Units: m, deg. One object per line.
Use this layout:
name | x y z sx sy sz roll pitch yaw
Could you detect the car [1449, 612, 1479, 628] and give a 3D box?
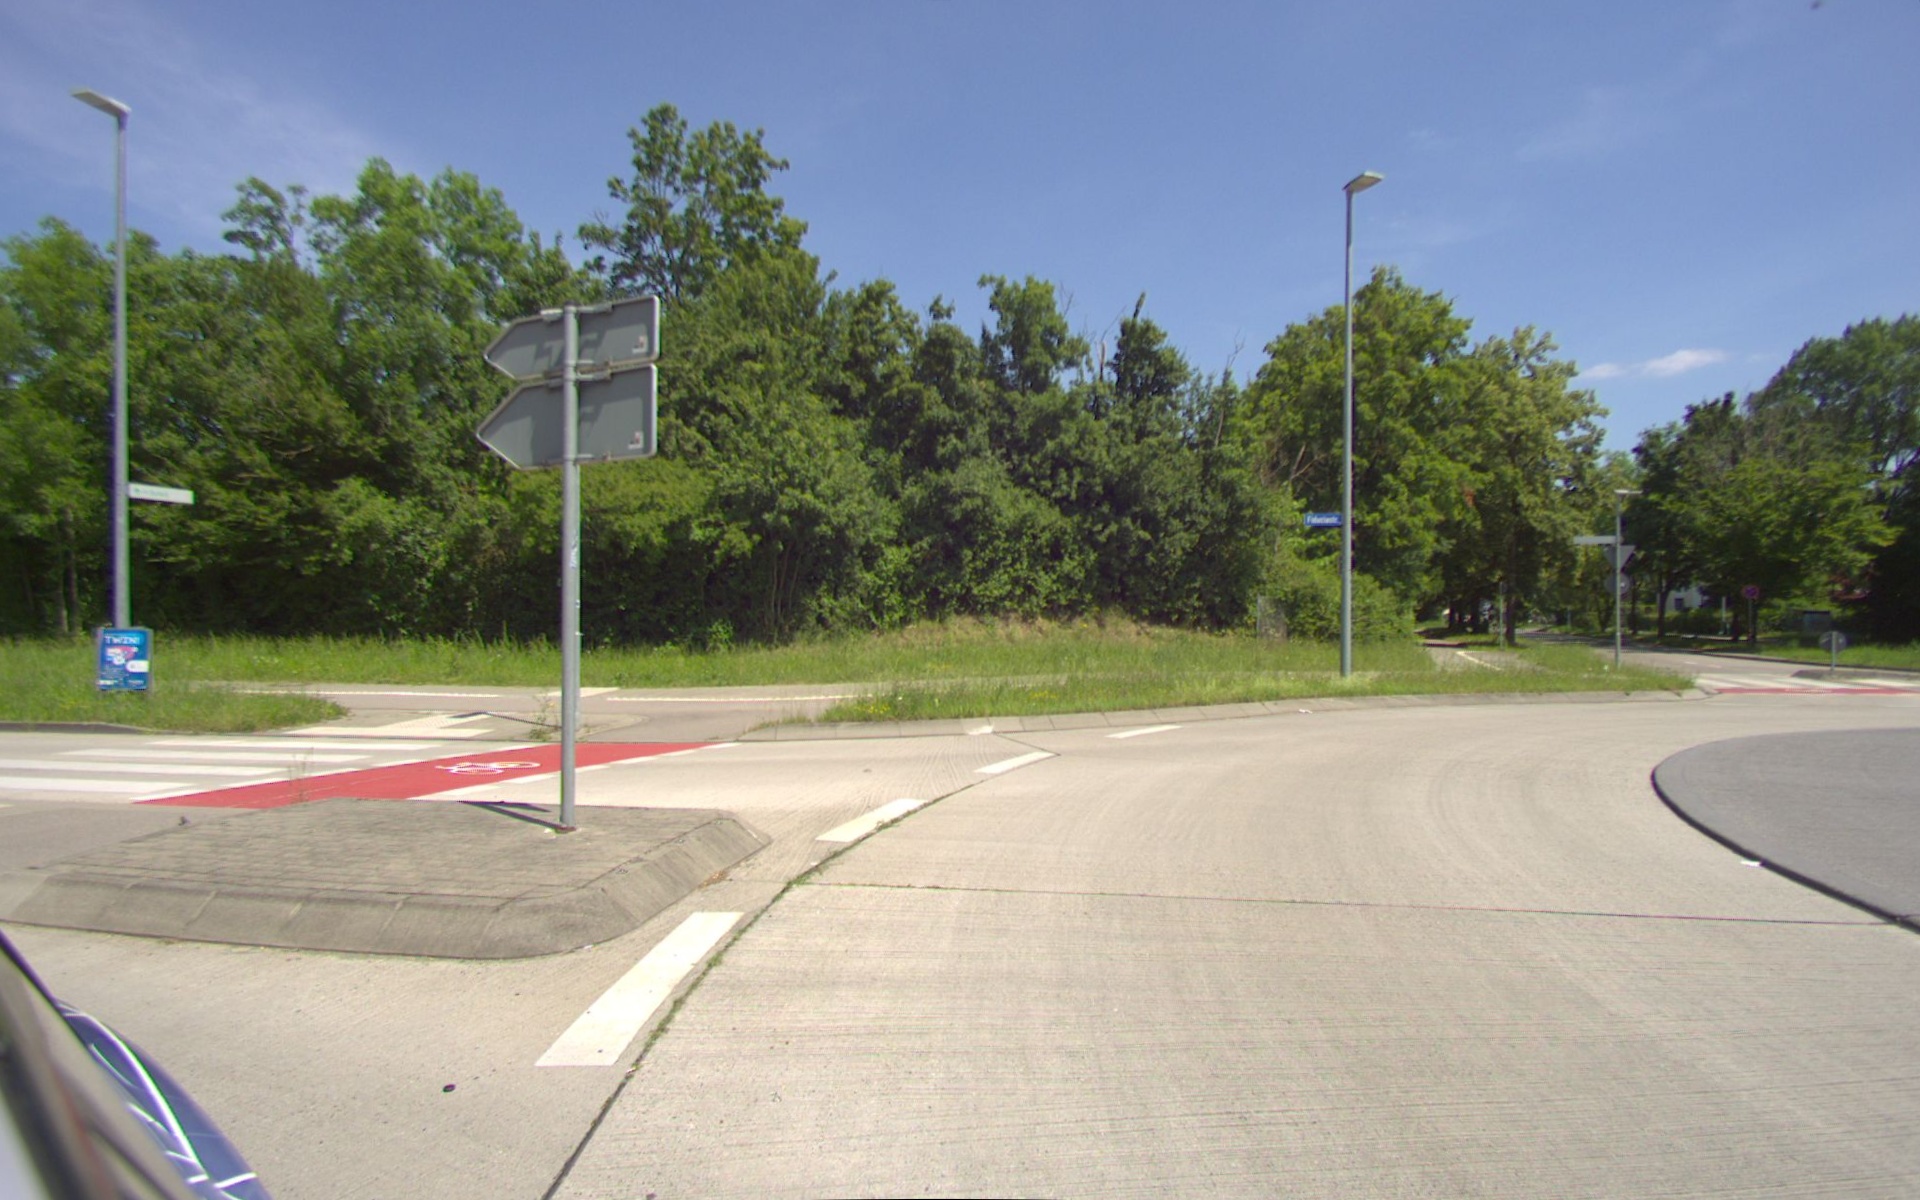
car | 54.835 2.130 110.131 1.979 1.645 3.985 0 1 12
